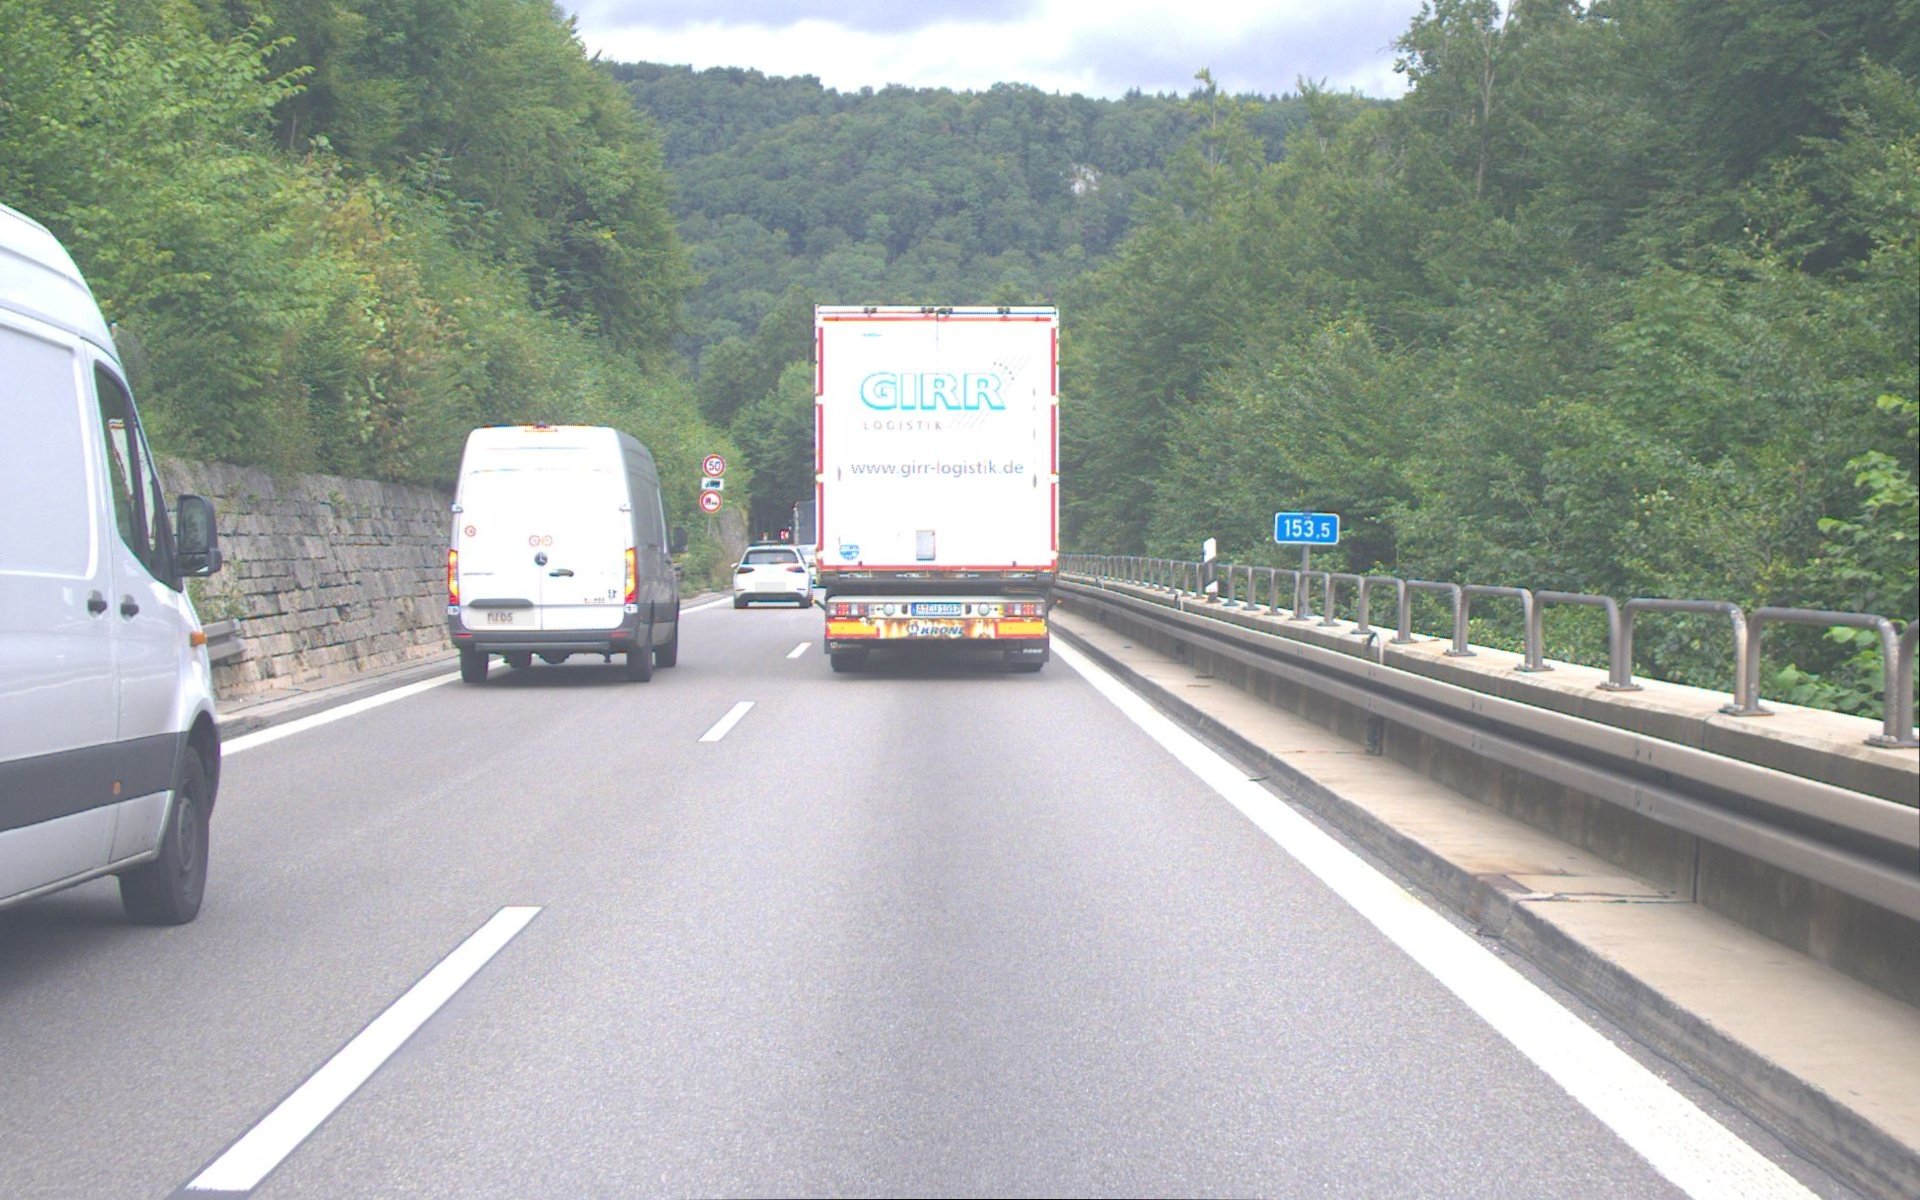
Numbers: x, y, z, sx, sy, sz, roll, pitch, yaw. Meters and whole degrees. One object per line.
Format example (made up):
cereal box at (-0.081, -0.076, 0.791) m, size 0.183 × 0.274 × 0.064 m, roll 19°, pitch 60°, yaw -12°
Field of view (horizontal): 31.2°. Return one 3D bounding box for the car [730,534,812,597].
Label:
car at (-4.388, -0.820, 80.155) m, size 1.732 × 1.416 × 4.000 m, roll 1°, pitch 1°, yaw -1°

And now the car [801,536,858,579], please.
car at (-4.398, -1.443, 116.252) m, size 1.732 × 1.416 × 4.000 m, roll 1°, pitch 1°, yaw 0°

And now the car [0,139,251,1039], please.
car at (-3.839, -0.038, 10.479) m, size 1.989 × 2.663 × 6.937 m, roll 0°, pitch 1°, yaw -1°

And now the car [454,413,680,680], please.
car at (-4.177, -0.597, 37.389) m, size 1.939 × 2.663 × 5.992 m, roll 0°, pitch 1°, yaw -2°

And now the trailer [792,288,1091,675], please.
trailer at (-0.252, -1.473, 41.682) m, size 3.057 × 3.972 × 12.138 m, roll 1°, pitch 2°, yaw -1°
